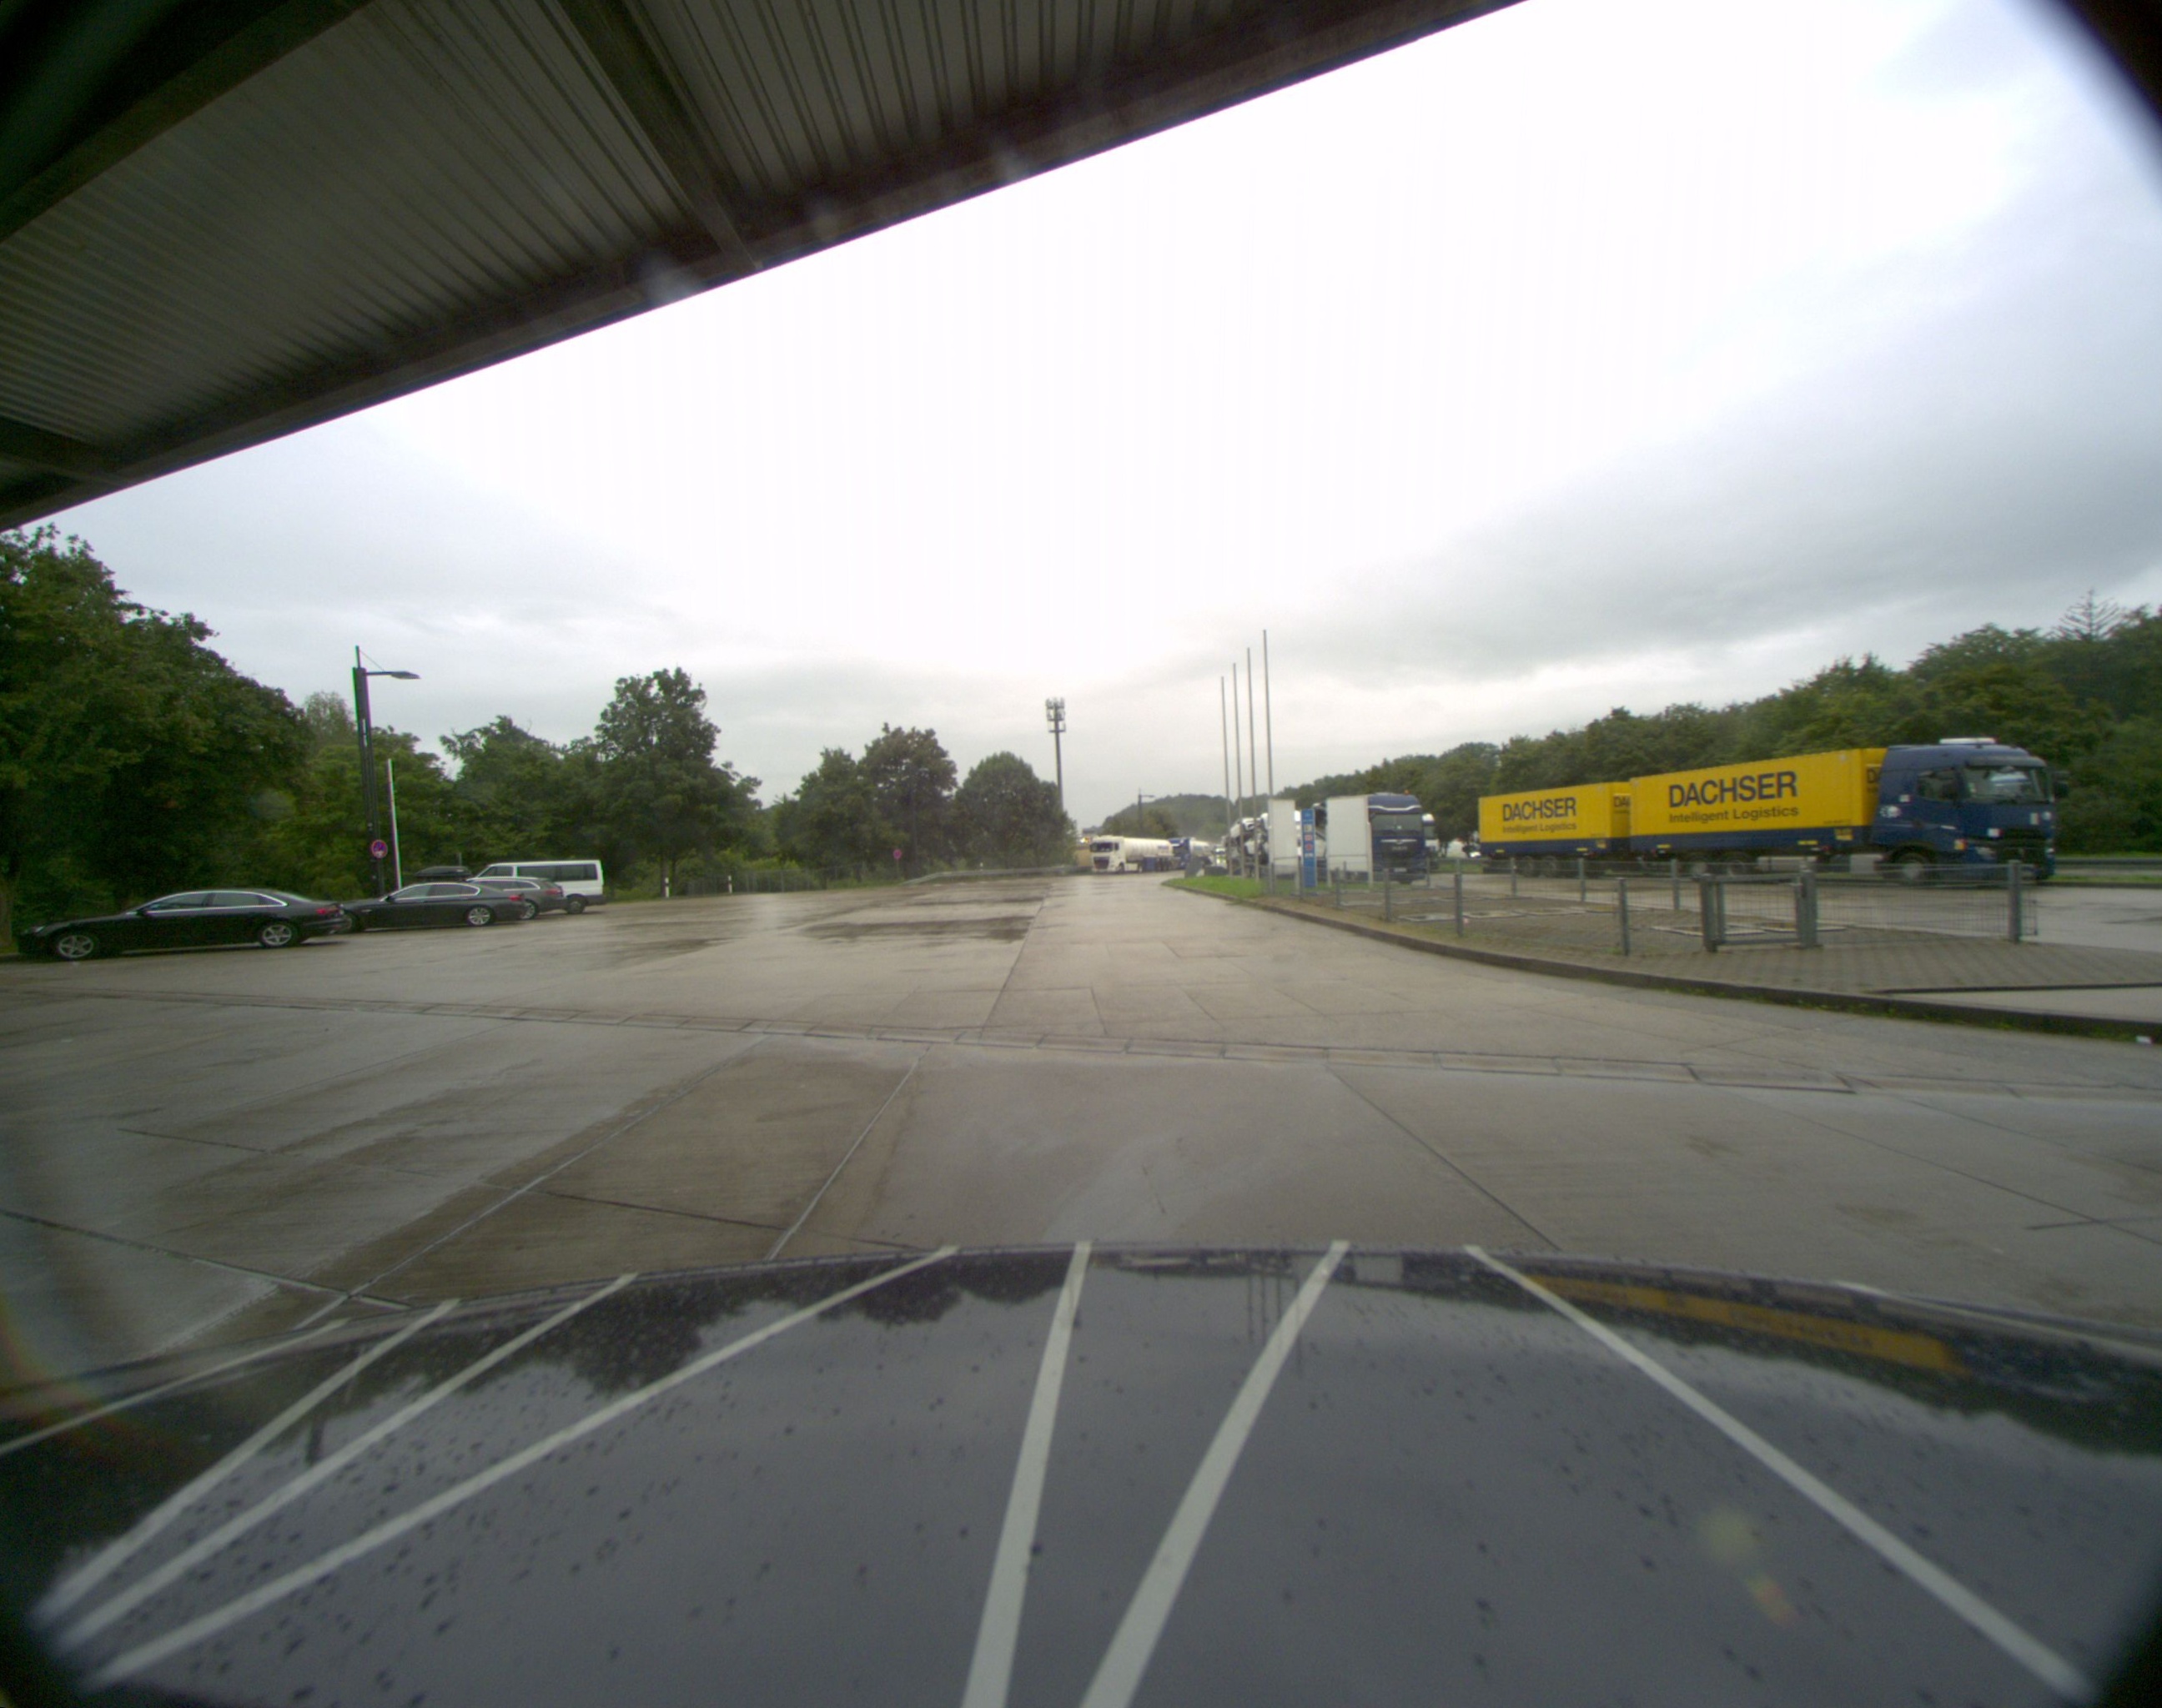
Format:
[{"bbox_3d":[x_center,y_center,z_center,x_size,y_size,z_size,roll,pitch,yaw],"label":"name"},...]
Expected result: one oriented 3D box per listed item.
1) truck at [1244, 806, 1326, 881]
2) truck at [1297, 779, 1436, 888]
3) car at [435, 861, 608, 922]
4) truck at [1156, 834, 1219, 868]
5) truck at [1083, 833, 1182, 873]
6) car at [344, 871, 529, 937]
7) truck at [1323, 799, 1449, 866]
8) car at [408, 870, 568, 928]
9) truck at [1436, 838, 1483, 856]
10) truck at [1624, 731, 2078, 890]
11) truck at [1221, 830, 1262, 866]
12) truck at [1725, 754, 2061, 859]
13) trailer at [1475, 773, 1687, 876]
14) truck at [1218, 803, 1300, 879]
[{"bbox_3d":[11.047,-0.561,41.604,2.665,3.750,4.747,-2,1,-6],"label":"truck"},{"bbox_3d":[12.184,-0.799,33.196,2.665,4.157,7.103,-2,0,-6],"label":"truck"},{"bbox_3d":[-20.426,1.288,28.010,4.898,1.938,2.310,-2,0,-35],"label":"car"},{"bbox_3d":[12.780,-0.409,89.705,3.506,3.584,14.685,-2,0,23],"label":"truck"},{"bbox_3d":[5.453,-0.166,75.224,3.505,3.584,14.426,-2,0,31],"label":"truck"},{"bbox_3d":[-18.875,1.394,22.522,4.007,1.650,1.596,-2,0,-35],"label":"car"},{"bbox_3d":[19.883,-1.303,50.585,2.757,3.894,10.678,-2,1,-8],"label":"truck"},{"bbox_3d":[-19.470,1.427,25.174,4.007,1.650,1.596,-2,0,-35],"label":"car"},{"bbox_3d":[45.769,-0.856,92.051,2.082,2.112,5.827,-2,1,-10],"label":"truck"},{"bbox_3d":[23.155,-1.131,24.343,2.757,3.894,10.678,-2,1,-8],"label":"truck"},{"bbox_3d":[19.913,-0.824,94.933,3.143,4.105,11.523,-2,1,3],"label":"truck"},{"bbox_3d":[33.911,-1.764,32.729,2.421,3.785,10.223,-2,1,-10],"label":"truck"},{"bbox_3d":[21.792,-1.188,33.964,2.757,3.894,8.700,-2,1,-9],"label":"trailer"},{"bbox_3d":[10.571,-0.730,45.794,2.665,4.157,6.618,-2,1,-6],"label":"truck"}]
